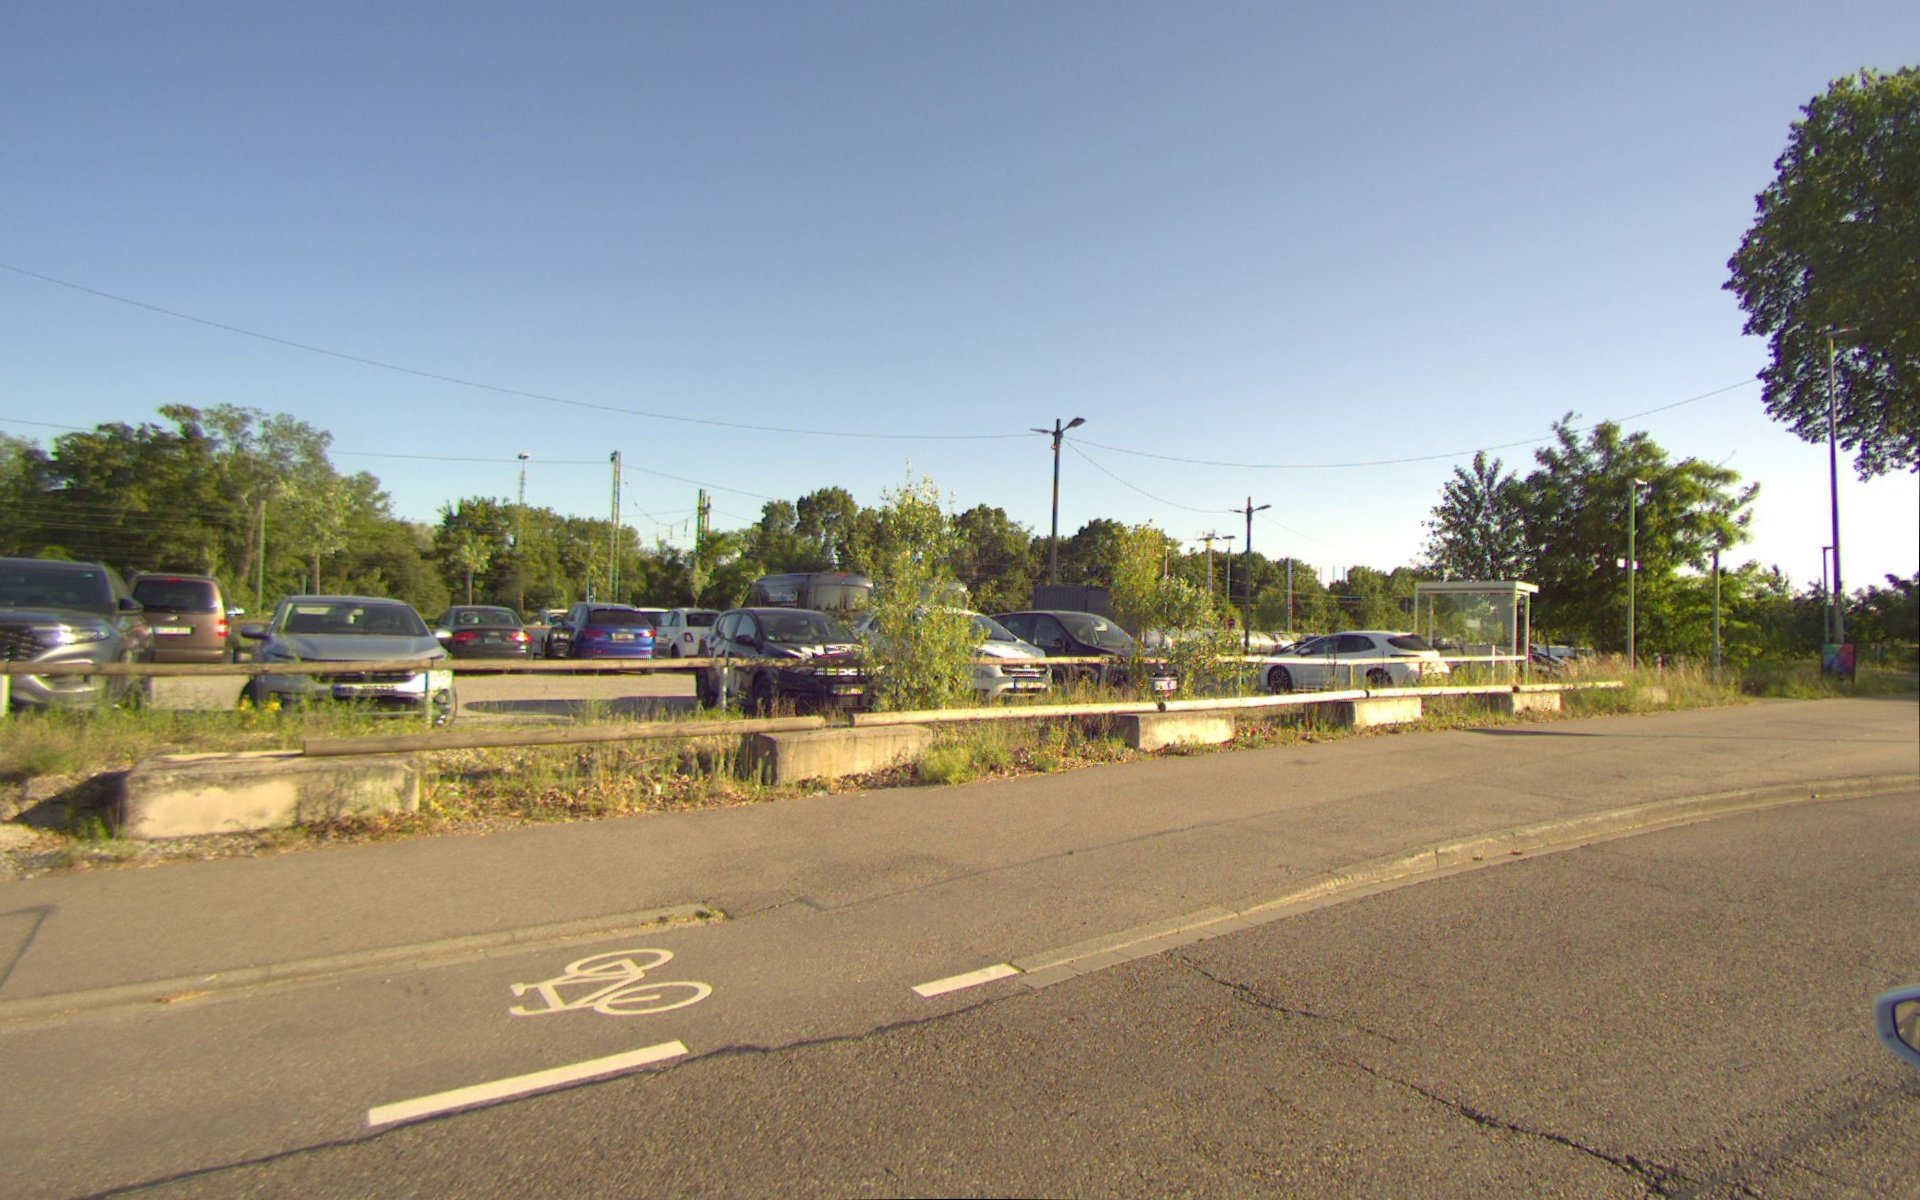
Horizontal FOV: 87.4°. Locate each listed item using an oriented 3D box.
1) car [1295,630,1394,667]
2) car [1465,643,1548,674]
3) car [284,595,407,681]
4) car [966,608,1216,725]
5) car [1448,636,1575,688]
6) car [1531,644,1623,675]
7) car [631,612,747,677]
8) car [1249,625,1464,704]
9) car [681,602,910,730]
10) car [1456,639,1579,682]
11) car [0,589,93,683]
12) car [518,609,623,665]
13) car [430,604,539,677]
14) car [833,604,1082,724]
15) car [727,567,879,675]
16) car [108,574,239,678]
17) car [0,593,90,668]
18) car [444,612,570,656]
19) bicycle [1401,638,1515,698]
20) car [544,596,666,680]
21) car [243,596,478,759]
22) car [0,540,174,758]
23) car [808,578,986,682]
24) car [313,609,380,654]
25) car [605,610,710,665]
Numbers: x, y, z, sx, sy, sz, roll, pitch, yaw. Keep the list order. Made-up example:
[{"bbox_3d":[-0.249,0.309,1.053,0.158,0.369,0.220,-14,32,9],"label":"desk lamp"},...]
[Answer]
[{"bbox_3d":[21.068,2.654,55.296,2.171,1.863,4.993,2,-1,-26],"label":"car"},{"bbox_3d":[34.001,3.633,62.592,1.956,1.728,4.122,2,-1,-31],"label":"car"},{"bbox_3d":[-12.836,0.756,20.945,1.979,1.615,3.964,2,-2,-33],"label":"car"},{"bbox_3d":[2.098,1.023,17.078,1.856,1.676,4.100,2,-1,-37],"label":"car"},{"bbox_3d":[20.261,2.239,36.938,3.934,1.705,1.835,1,-1,35],"label":"car"},{"bbox_3d":[41.464,3.975,67.620,1.977,1.788,4.921,2,-1,-30],"label":"car"},{"bbox_3d":[-6.979,1.092,25.659,1.815,1.528,3.717,2,-1,-33],"label":"car"},{"bbox_3d":[8.826,1.389,22.698,1.872,1.531,4.234,2,-1,-33],"label":"car"},{"bbox_3d":[-2.477,0.850,14.322,1.836,1.535,3.965,2,-2,-32],"label":"car"},{"bbox_3d":[21.733,2.315,39.208,3.940,1.478,1.722,0,-1,40],"label":"car"},{"bbox_3d":[-17.176,0.572,18.016,1.871,1.507,3.907,2,0,-33],"label":"car"},{"bbox_3d":[-11.175,1.016,28.661,2.078,1.438,4.167,2,-1,-31],"label":"car"},{"bbox_3d":[-10.471,0.844,21.991,1.740,1.450,3.966,2,-1,-31],"label":"car"},{"bbox_3d":[-0.158,0.919,15.804,1.870,1.632,4.014,2,-2,-37],"label":"car"},{"bbox_3d":[-4.117,0.528,25.766,2.107,2.500,4.439,2,-1,-34],"label":"car"},{"bbox_3d":[-14.949,0.429,19.092,1.757,1.757,3.736,2,0,-39],"label":"car"},{"bbox_3d":[-20.723,0.603,21.672,2.066,1.491,4.085,2,-1,-28],"label":"car"},{"bbox_3d":[-16.161,1.219,35.886,3.825,1.465,1.982,2,-2,-34],"label":"car"},{"bbox_3d":[14.724,2.001,29.758,2.897,1.637,0.906,1,0,3],"label":"bicycle"},{"bbox_3d":[-8.407,0.831,23.581,1.808,1.602,3.963,2,2,-33],"label":"car"},{"bbox_3d":[-6.820,0.741,11.230,1.822,1.473,3.883,2,-1,-37],"label":"car"},{"bbox_3d":[-9.245,0.485,9.847,2.047,1.766,4.496,2,-4,-34],"label":"car"},{"bbox_3d":[-1.872,0.789,27.480,2.378,2.550,5.459,2,-1,-34],"label":"car"},{"bbox_3d":[-21.210,1.074,34.816,1.855,1.450,3.901,2,-1,-31],"label":"car"},{"bbox_3d":[-9.022,1.077,29.745,1.965,1.493,4.167,2,-1,-31],"label":"car"}]
